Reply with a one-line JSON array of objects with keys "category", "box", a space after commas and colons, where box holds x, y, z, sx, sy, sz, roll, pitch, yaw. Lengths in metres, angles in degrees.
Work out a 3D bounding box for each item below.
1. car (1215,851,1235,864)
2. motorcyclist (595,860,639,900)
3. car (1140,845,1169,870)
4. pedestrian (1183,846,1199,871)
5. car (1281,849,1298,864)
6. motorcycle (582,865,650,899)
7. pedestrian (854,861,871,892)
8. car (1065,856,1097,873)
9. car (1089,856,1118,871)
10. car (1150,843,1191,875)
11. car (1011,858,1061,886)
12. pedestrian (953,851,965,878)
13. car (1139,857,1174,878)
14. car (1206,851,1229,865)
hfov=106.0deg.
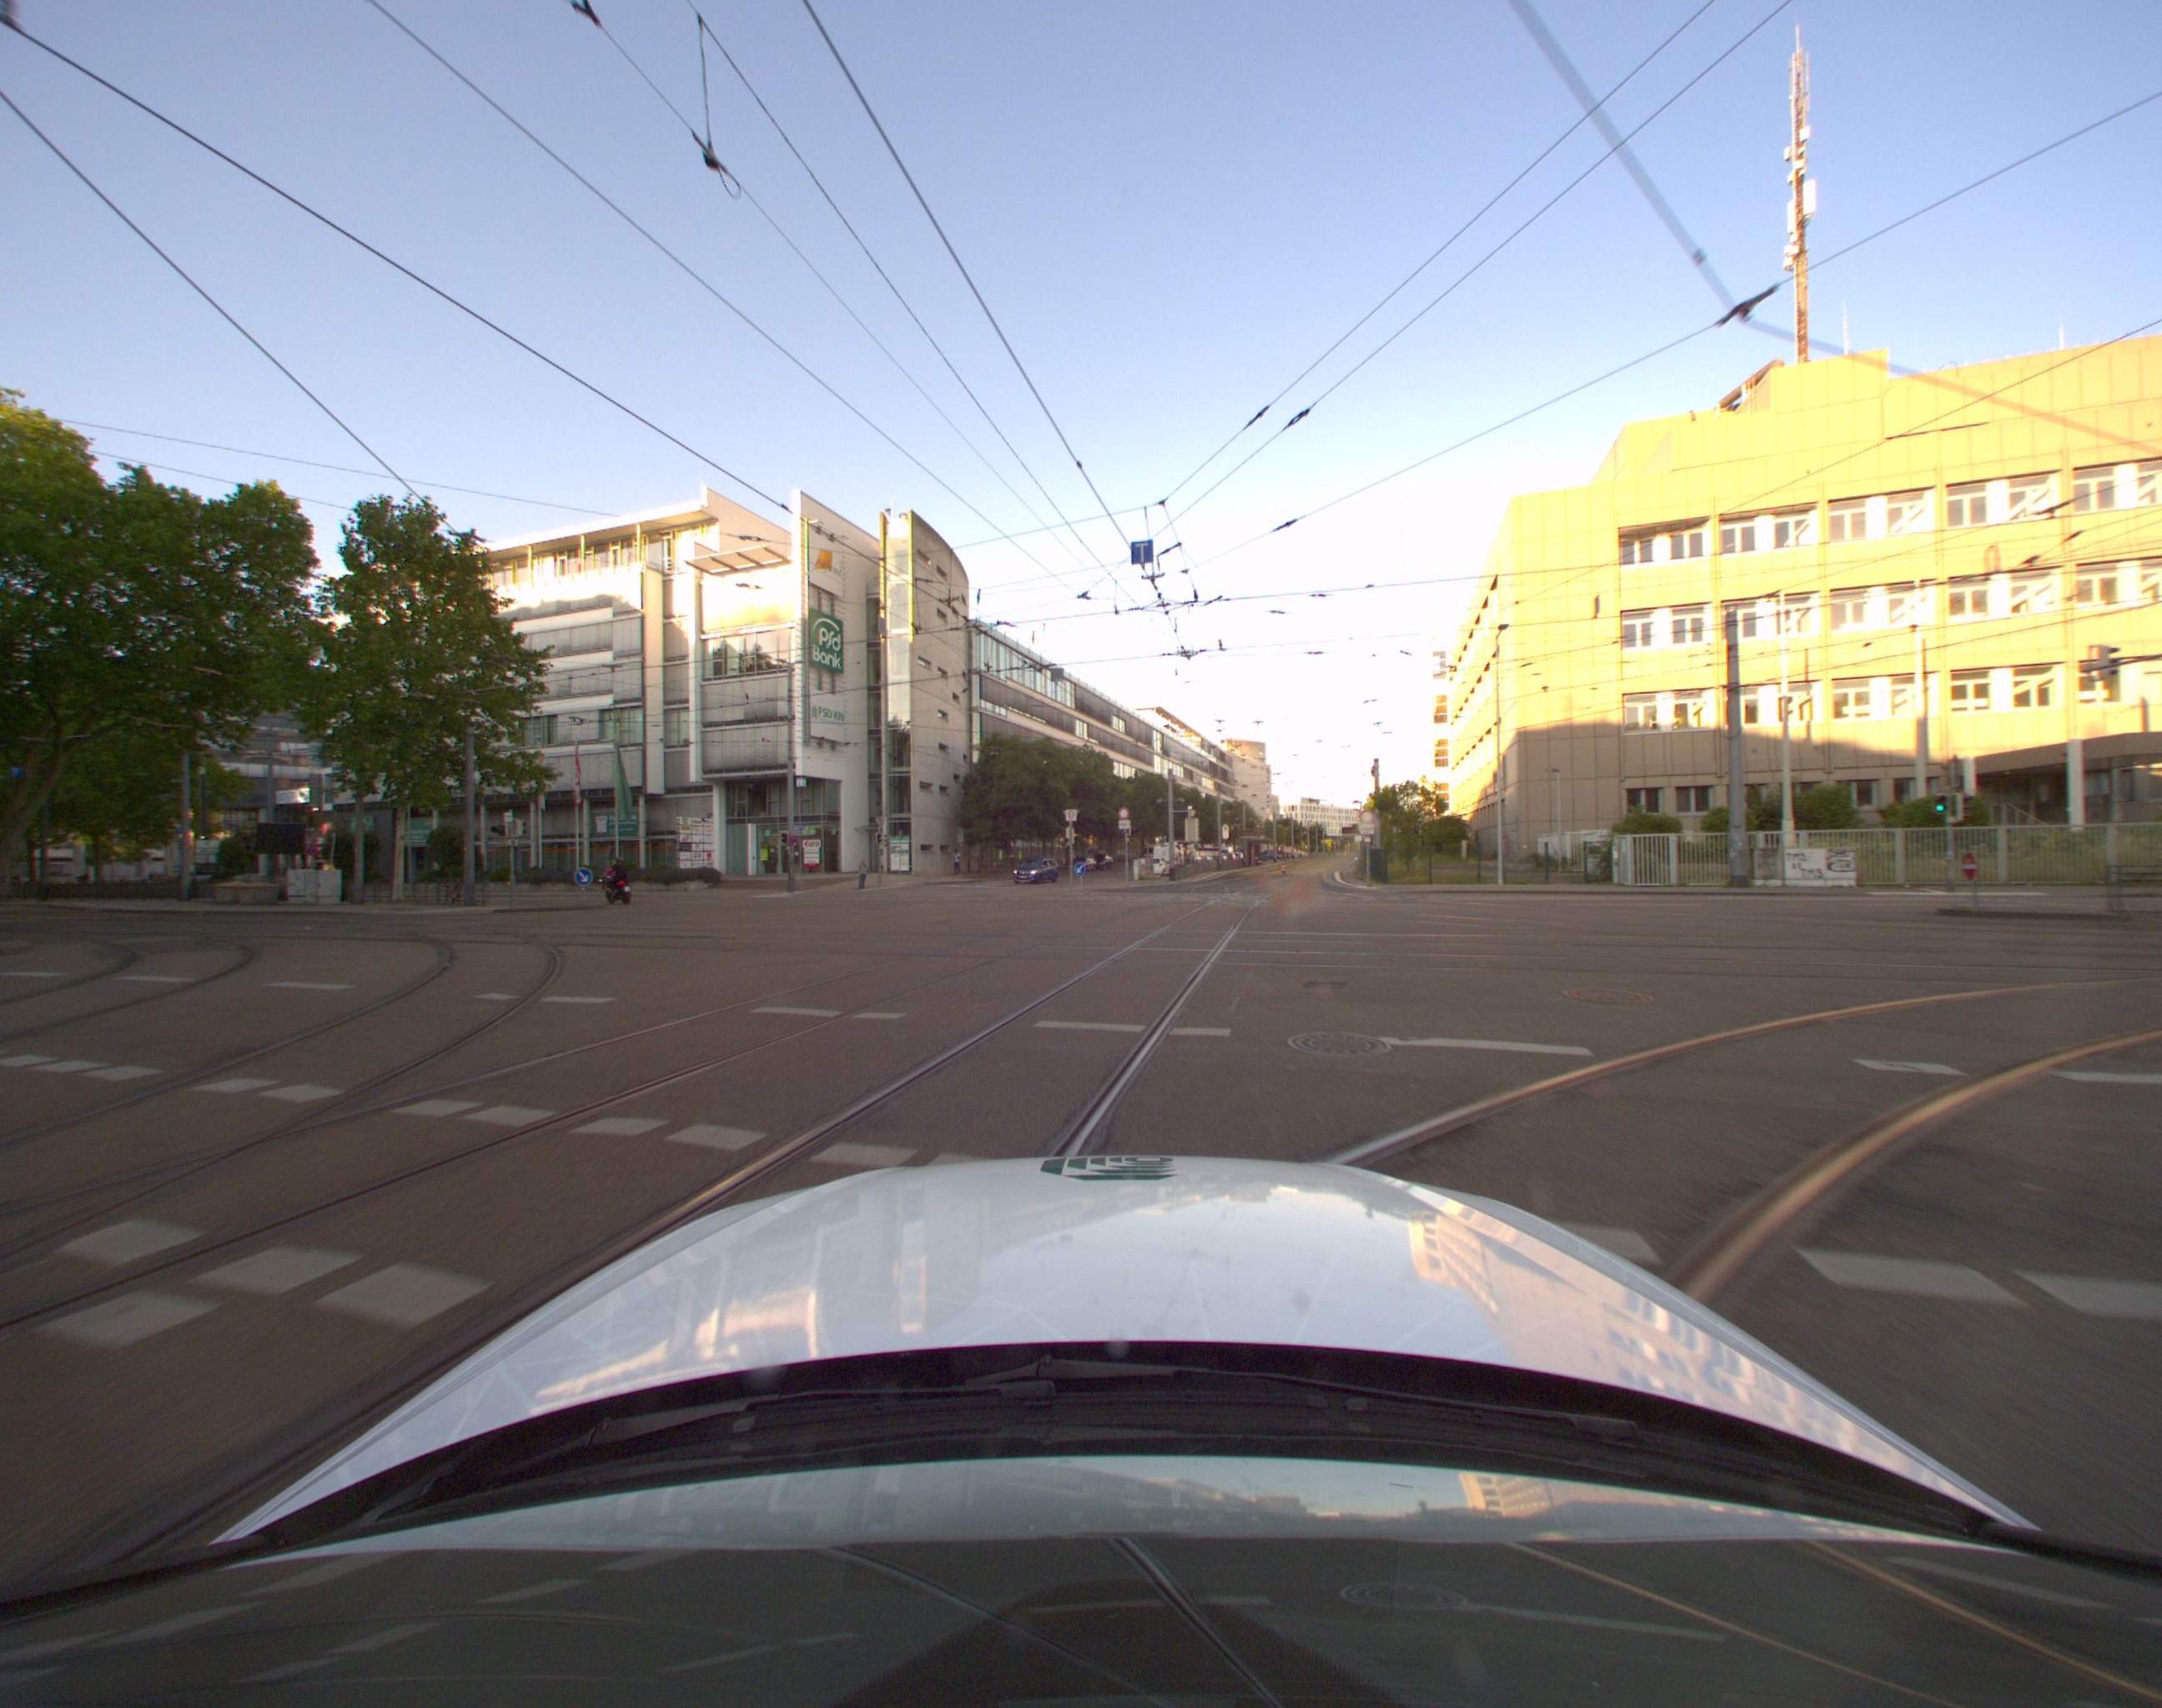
[{"category": "car", "box": [16.687, 0.419, 94.177, 1.669, 1.439, 4.146, -1, 0, 19]}, {"category": "motorcyclist", "box": [-17.416, 0.973, 30.584, 1.193, 1.473, 0.835, -1, 0, 21]}, {"category": "car", "box": [9.548, 0.384, 105.196, 2.183, 3.152, 6.174, -1, 0, 20]}, {"category": "pedestrian", "box": [9.229, 0.364, 68.209, 1.039, 2.030, 0.981, -1, 0, -8]}, {"category": "car", "box": [28.986, 0.337, 113.068, 1.978, 2.013, 4.019, -1, 0, 18]}, {"category": "motorcycle", "box": [-17.485, 1.044, 30.621, 2.461, 1.240, 0.835, -1, 0, 21]}, {"category": "pedestrian", "box": [-12.257, 1.242, 45.679, 0.541, 1.711, 0.664, -1, 0, 29]}, {"category": "car", "box": [0.063, 0.989, 78.380, 1.668, 1.501, 4.260, -1, 0, 20]}, {"category": "car", "box": [2.336, 0.947, 83.915, 1.668, 1.501, 4.260, -1, 0, 20]}, {"category": "car", "box": [7.506, 0.365, 67.878, 2.442, 2.482, 5.833, -1, 0, 16]}, {"category": "car", "box": [-2.947, 1.154, 53.946, 1.668, 1.700, 4.261, -1, 0, 21]}, {"category": "pedestrian", "box": [-8.857, 0.740, 59.069, 0.658, 1.922, 0.549, -2, 0, 8]}, {"category": "car", "box": [5.802, 1.017, 62.130, 1.669, 1.439, 4.146, -1, 0, 19]}, {"category": "car", "box": [14.473, 0.436, 86.167, 1.669, 1.439, 4.146, -1, 0, 19]}]
